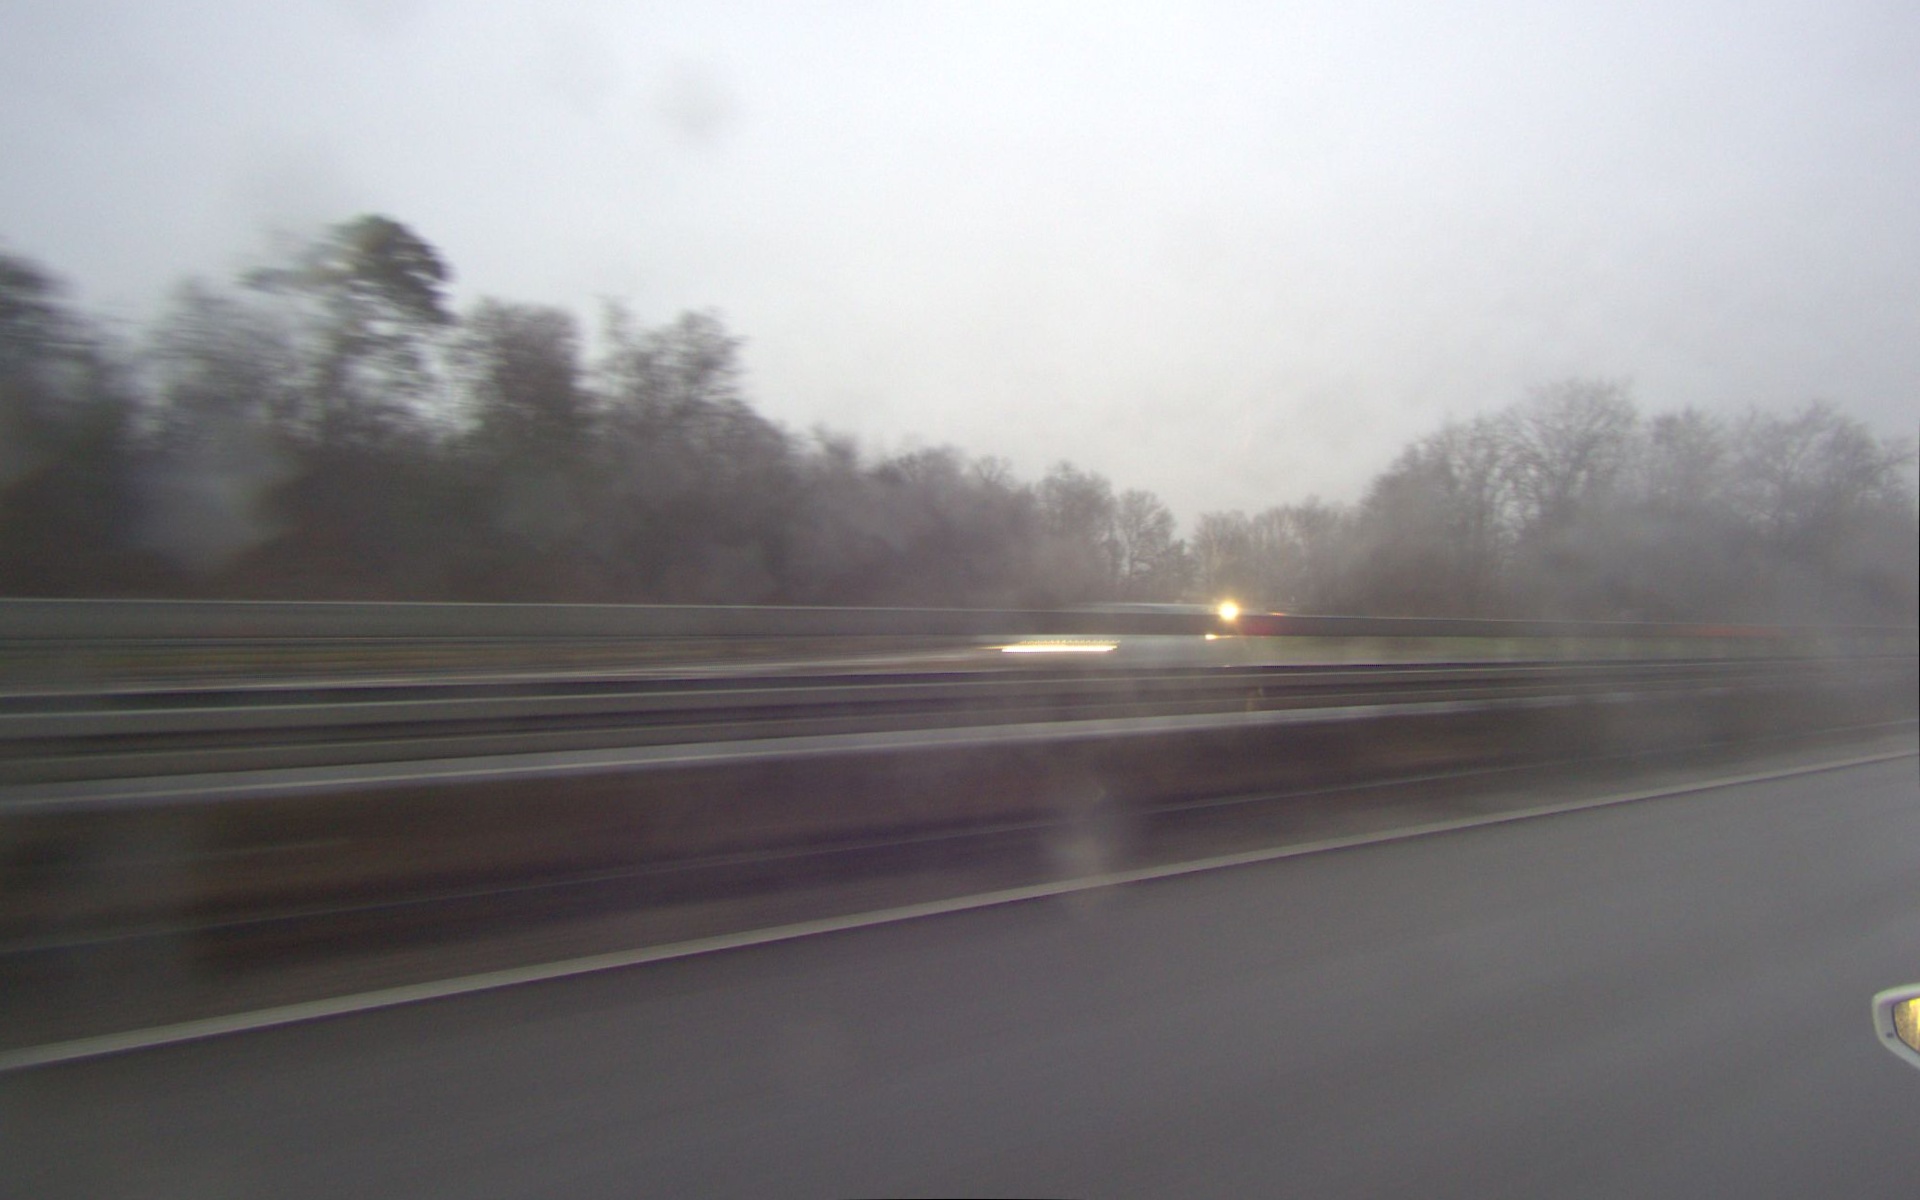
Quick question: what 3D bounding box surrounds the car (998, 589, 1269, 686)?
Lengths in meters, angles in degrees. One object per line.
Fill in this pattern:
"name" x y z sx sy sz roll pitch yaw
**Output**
"car" 3.310 0.678 18.889 4.900 1.610 1.984 1 -1 -30
